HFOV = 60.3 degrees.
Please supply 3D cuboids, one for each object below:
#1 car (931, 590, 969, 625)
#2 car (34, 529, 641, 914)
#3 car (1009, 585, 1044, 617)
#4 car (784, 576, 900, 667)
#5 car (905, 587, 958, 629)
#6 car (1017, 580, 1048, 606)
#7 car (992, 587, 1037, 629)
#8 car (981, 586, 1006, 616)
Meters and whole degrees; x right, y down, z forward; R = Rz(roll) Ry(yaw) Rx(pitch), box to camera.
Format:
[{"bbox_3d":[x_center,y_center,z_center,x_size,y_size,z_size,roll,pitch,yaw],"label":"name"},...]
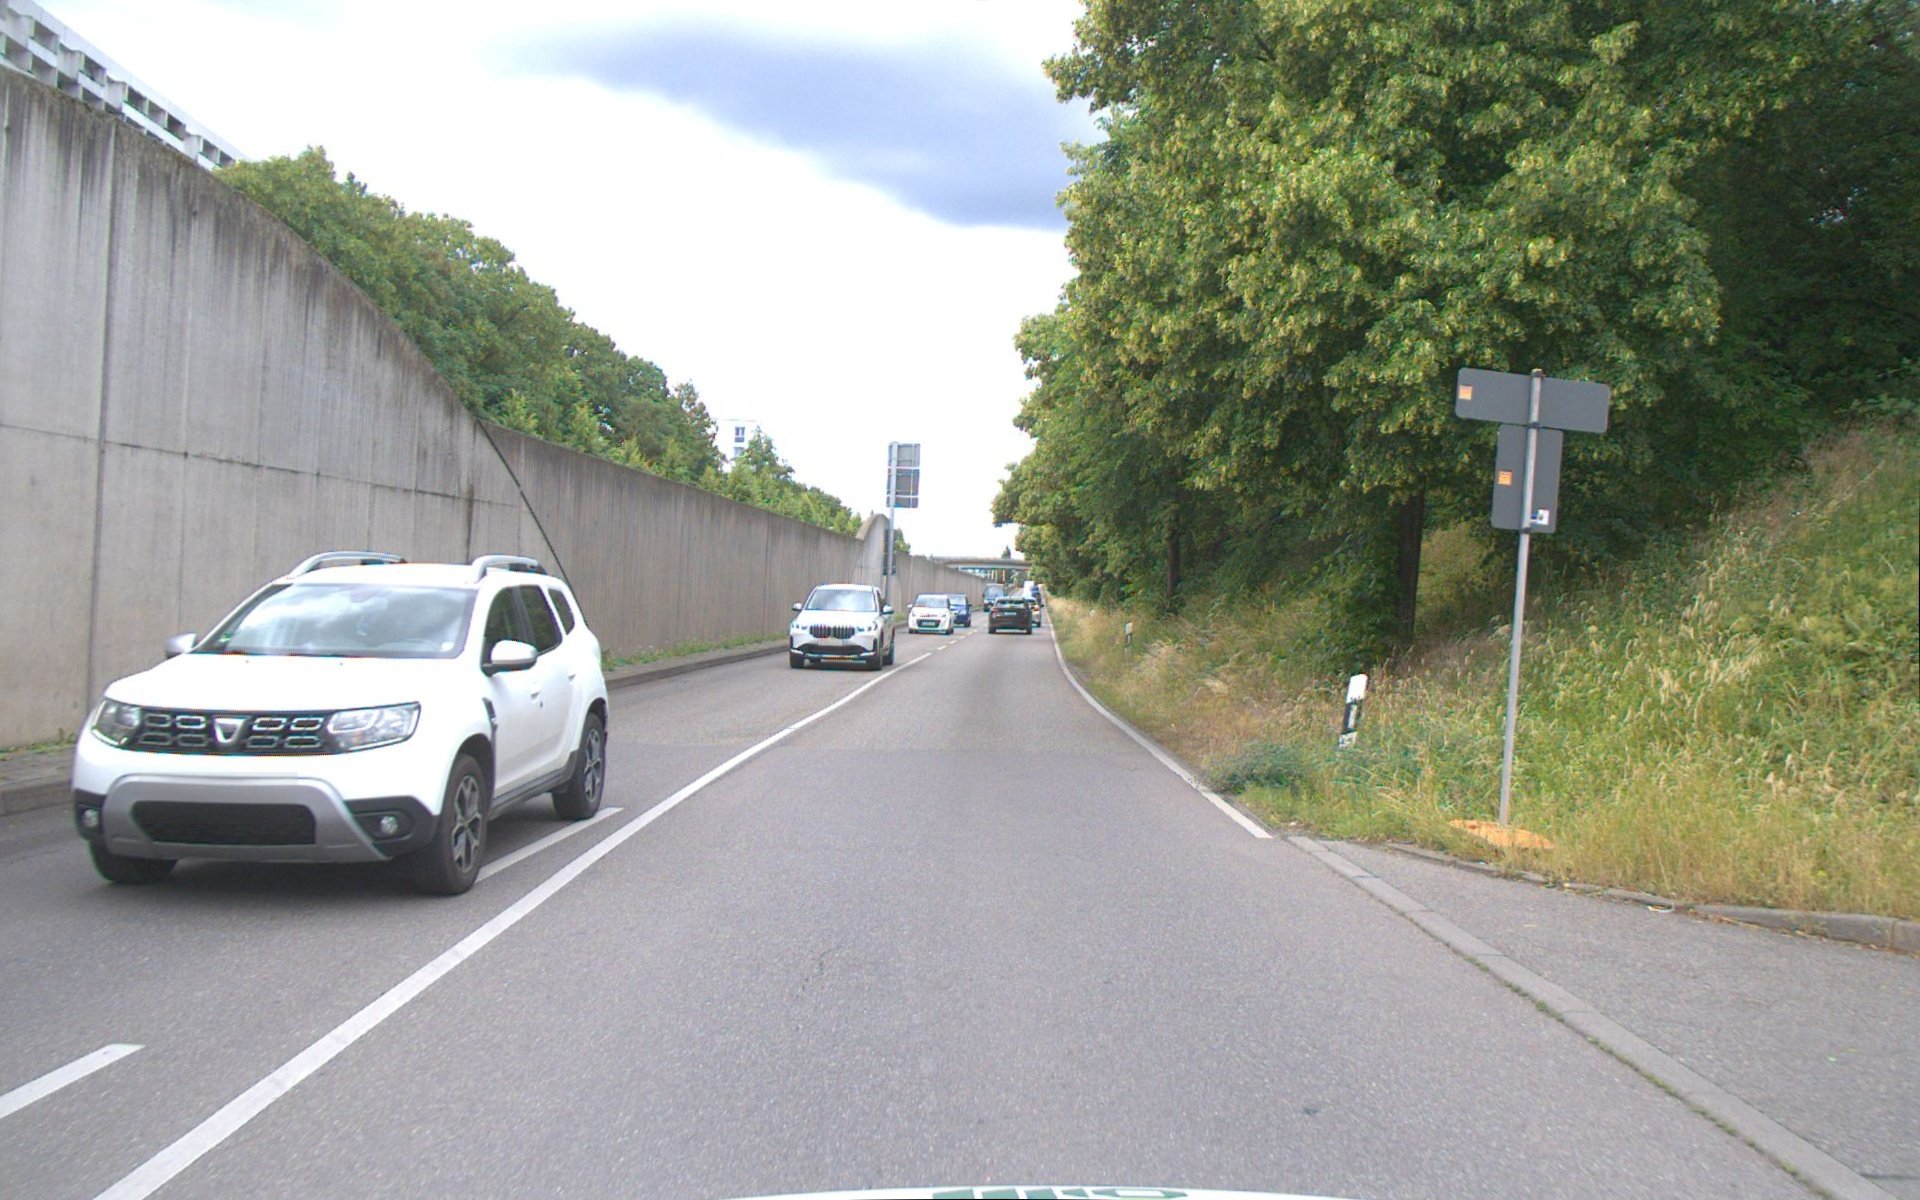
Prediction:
[{"bbox_3d":[-0.460,0.335,78.808,1.731,1.521,4.208,2,0,0],"label":"car"},{"bbox_3d":[-3.187,0.525,9.495,1.823,1.660,4.208,2,0,0],"label":"car"},{"bbox_3d":[3.358,0.073,83.978,1.718,1.550,4.037,0,-1,1],"label":"car"},{"bbox_3d":[-2.322,0.398,33.634,1.851,1.660,4.427,2,0,2],"label":"car"},{"bbox_3d":[-1.073,0.272,63.969,1.876,1.521,4.208,2,0,0],"label":"car"},{"bbox_3d":[4.704,-0.446,108.368,1.828,1.515,4.257,4,0,1],"label":"car"},{"bbox_3d":[2.187,0.346,66.879,1.718,1.550,4.036,1,-2,1],"label":"car"},{"bbox_3d":[3.220,0.086,156.631,2.065,2.676,7.420,1,0,3],"label":"car"}]
